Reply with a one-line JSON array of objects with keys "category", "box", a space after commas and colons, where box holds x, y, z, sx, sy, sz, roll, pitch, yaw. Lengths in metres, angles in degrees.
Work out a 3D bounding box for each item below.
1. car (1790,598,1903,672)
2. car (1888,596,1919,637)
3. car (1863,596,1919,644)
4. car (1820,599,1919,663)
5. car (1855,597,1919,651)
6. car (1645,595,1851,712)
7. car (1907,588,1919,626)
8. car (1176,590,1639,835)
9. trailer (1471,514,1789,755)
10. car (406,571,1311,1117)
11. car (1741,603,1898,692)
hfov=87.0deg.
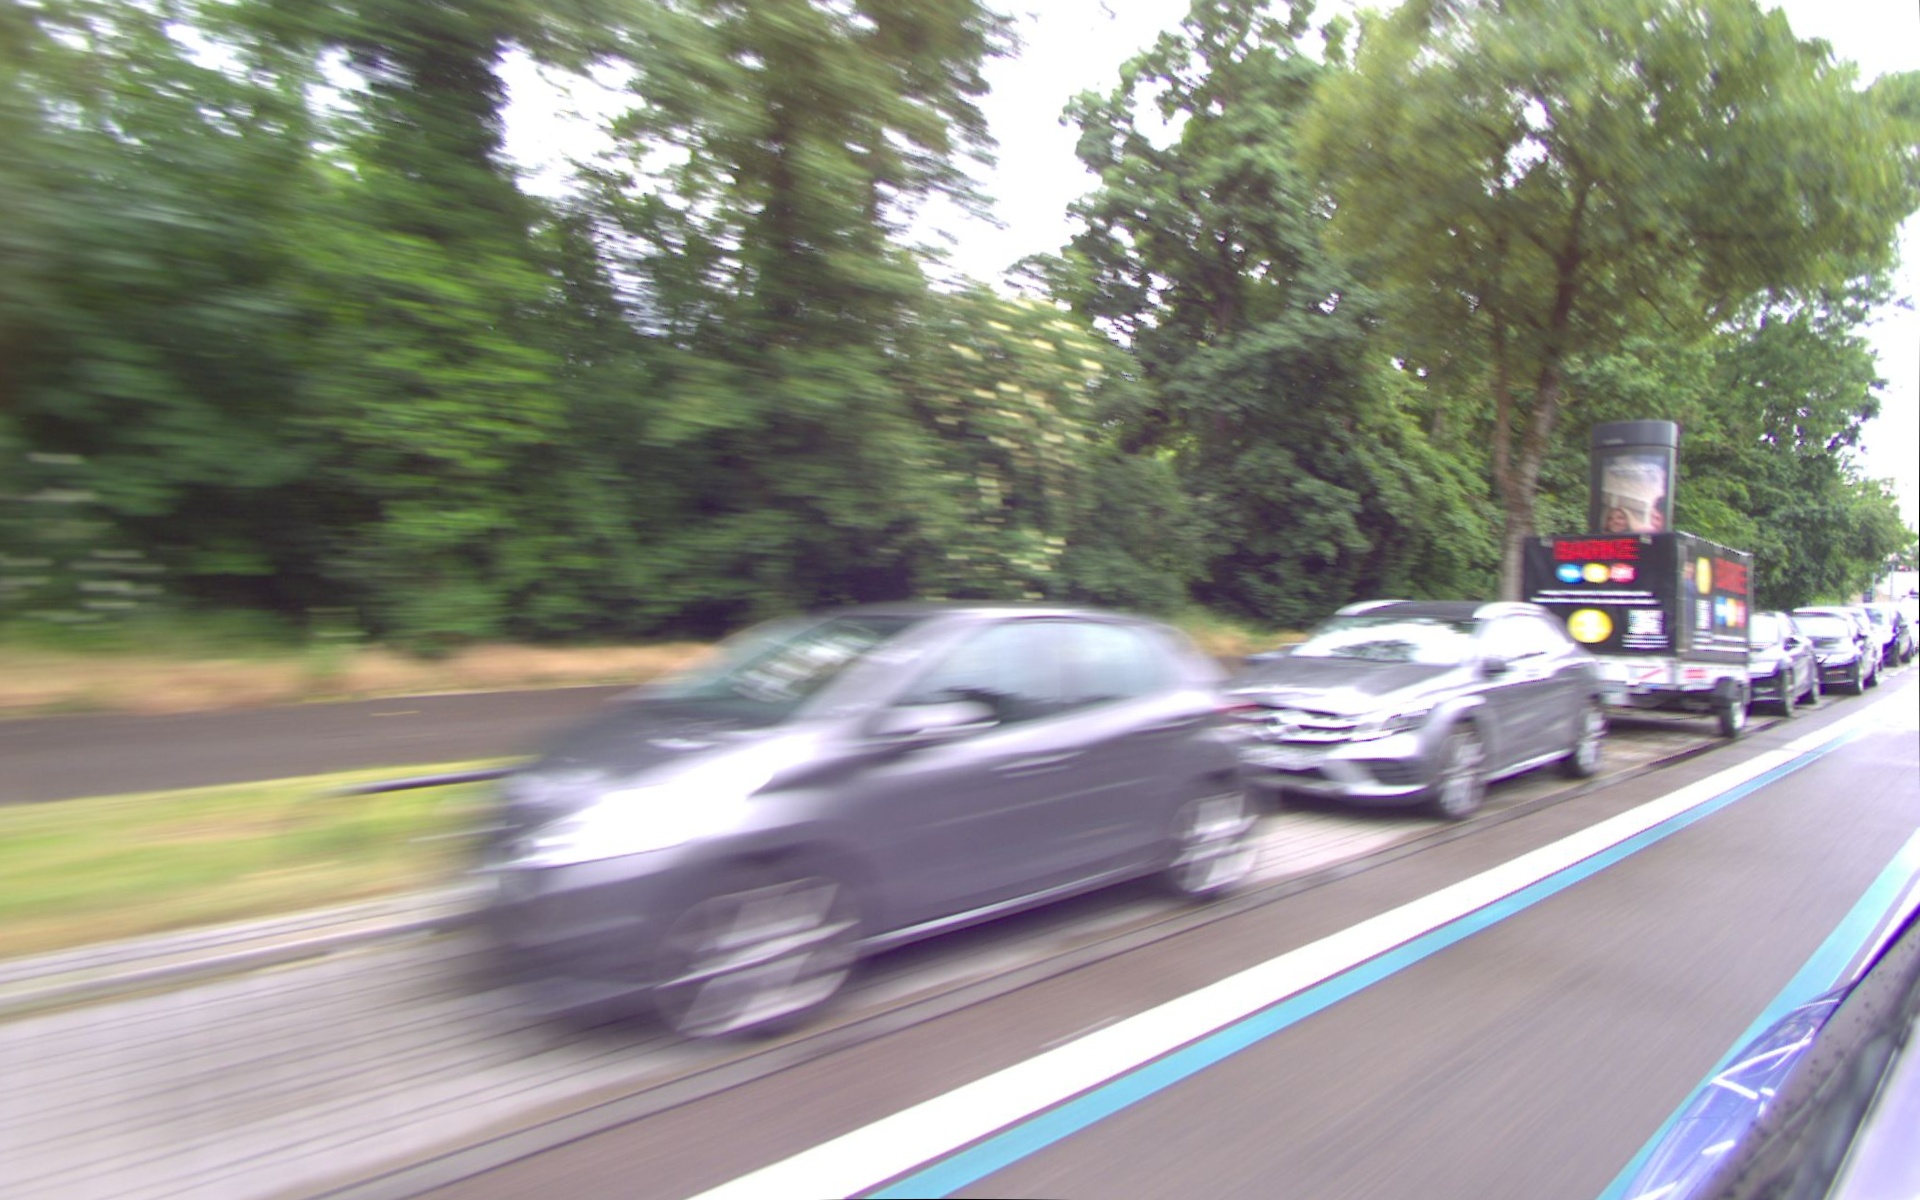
[{"category": "car", "box": [19.911, 0.708, 22.668, 3.935, 1.485, 1.618, -1, 0, -45]}, {"category": "car", "box": [35.264, 0.567, 36.959, 1.853, 1.417, 4.314, -1, 0, 45]}, {"category": "car", "box": [30.966, 0.608, 32.950, 4.669, 1.473, 1.859, 0, 0, -42]}, {"category": "car", "box": [23.080, 0.733, 25.436, 3.832, 1.484, 1.661, 0, -1, -41]}, {"category": "car", "box": [27.308, 0.652, 29.469, 3.615, 1.479, 1.561, -1, 0, -44]}, {"category": "car", "box": [11.873, 0.696, 15.148, 4.130, 1.504, 1.823, 0, -1, -43]}, {"category": "car", "box": [42.725, 0.268, 44.208, 1.822, 1.635, 4.183, -2, 0, 45]}, {"category": "car", "box": [3.837, 0.674, 8.291, 4.351, 1.468, 1.798, 0, 1, -41]}, {"category": "trailer", "box": [7.941, 0.307, 11.802, 4.684, 2.276, 1.909, 0, 1, -41]}, {"category": "car", "box": [-0.186, 0.657, 4.656, 3.929, 1.489, 1.618, 0, 0, -40]}, {"category": "car", "box": [15.883, 0.793, 18.619, 4.372, 1.411, 1.753, -1, -1, -44]}]
